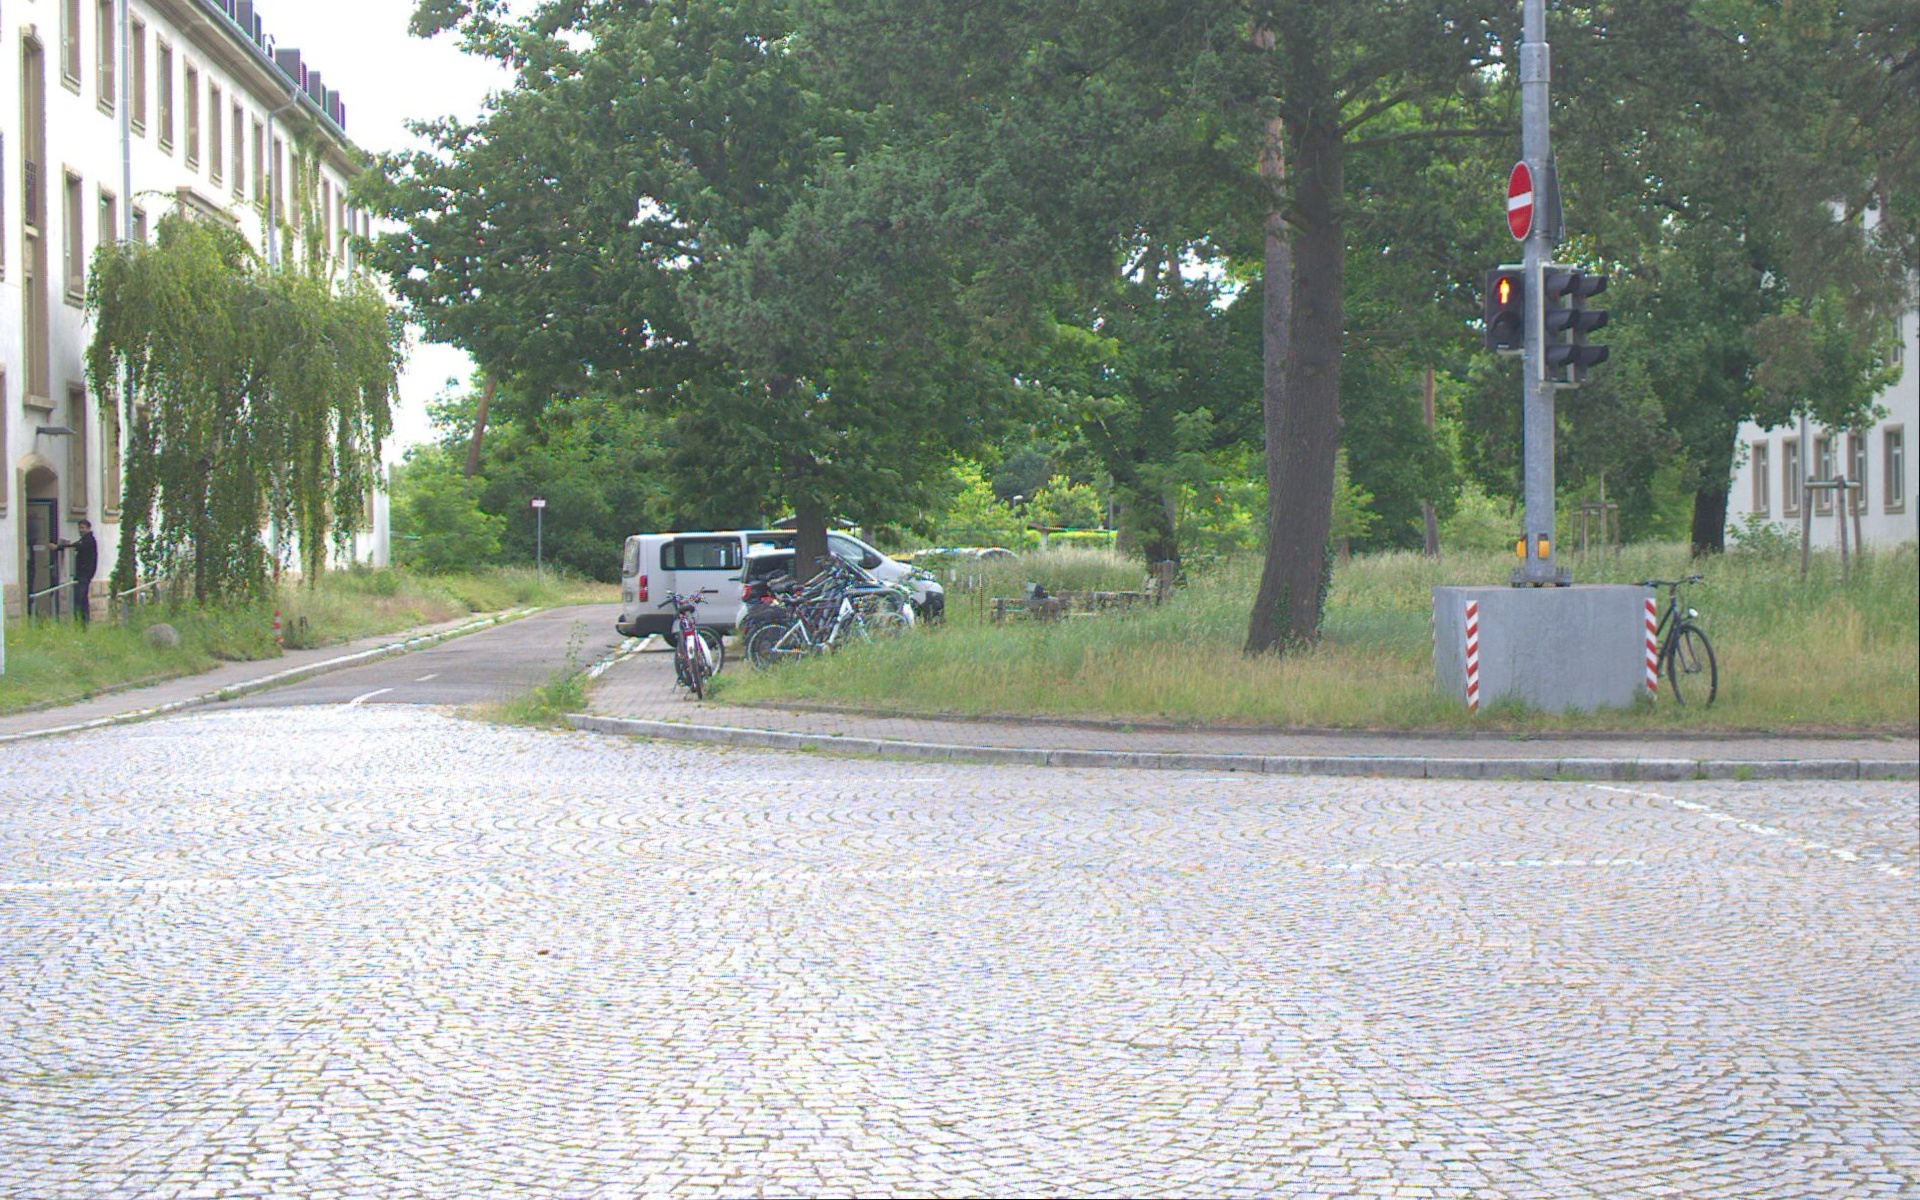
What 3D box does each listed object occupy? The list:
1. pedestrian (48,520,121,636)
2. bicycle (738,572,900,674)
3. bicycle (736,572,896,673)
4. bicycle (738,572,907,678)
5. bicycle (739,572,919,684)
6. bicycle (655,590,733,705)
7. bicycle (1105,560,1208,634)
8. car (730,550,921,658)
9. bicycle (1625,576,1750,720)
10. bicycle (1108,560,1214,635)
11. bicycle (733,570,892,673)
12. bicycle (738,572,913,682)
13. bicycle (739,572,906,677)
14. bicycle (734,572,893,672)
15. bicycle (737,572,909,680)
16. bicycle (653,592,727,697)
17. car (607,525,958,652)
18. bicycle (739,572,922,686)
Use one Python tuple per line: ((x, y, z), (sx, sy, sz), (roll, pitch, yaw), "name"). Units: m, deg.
((-13.578, -0.345, 53.344), (0.837, 1.775, 0.941), (0, 1, 2), "pedestrian")
((-1.756, 0.282, 42.616), (1.982, 1.243, 0.624), (0, 0, -4), "bicycle")
((-1.812, 0.278, 43.127), (1.982, 1.243, 0.624), (0, 0, -4), "bicycle")
((-1.649, 0.294, 41.015), (1.982, 1.243, 0.624), (0, 0, -4), "bicycle")
((-1.480, 0.312, 38.601), (1.982, 1.243, 0.624), (0, 0, -4), "bicycle")
((-2.662, 0.461, 34.539), (0.622, 1.110, 1.989), (0, 0, 0), "bicycle")
((3.019, -0.053, 52.987), (1.549, 1.121, 0.401), (-1, 0, -1), "bicycle")
((-2.071, 0.049, 52.585), (2.847, 1.552, 1.472), (-1, 2, -3), "car")
((5.454, 0.344, 25.853), (0.580, 0.967, 1.678), (-2, 2, 1), "bicycle")
((3.022, -0.042, 51.754), (1.549, 1.121, 0.401), (-1, 0, -1), "bicycle")
((-1.906, 0.269, 44.278), (1.982, 1.243, 0.624), (-2, 0, -4), "bicycle")
((-1.555, 0.305, 39.525), (1.982, 1.243, 0.624), (0, 0, -4), "bicycle")
((-1.668, 0.290, 41.540), (1.982, 1.243, 0.624), (0, 0, -4), "bicycle")
((-1.861, 0.274, 43.619), (1.982, 1.243, 0.624), (0, 0, -4), "bicycle")
((-1.613, 0.299, 40.383), (1.982, 1.243, 0.624), (0, 0, -4), "bicycle")
((-2.858, 0.461, 36.487), (0.622, 1.079, 1.677), (0, 0, 1), "bicycle")
((-2.904, -0.211, 56.025), (5.303, 1.909, 2.150), (-1, 1, -17), "car")
((-1.439, 0.317, 37.974), (1.982, 1.243, 0.624), (0, 0, -4), "bicycle")
